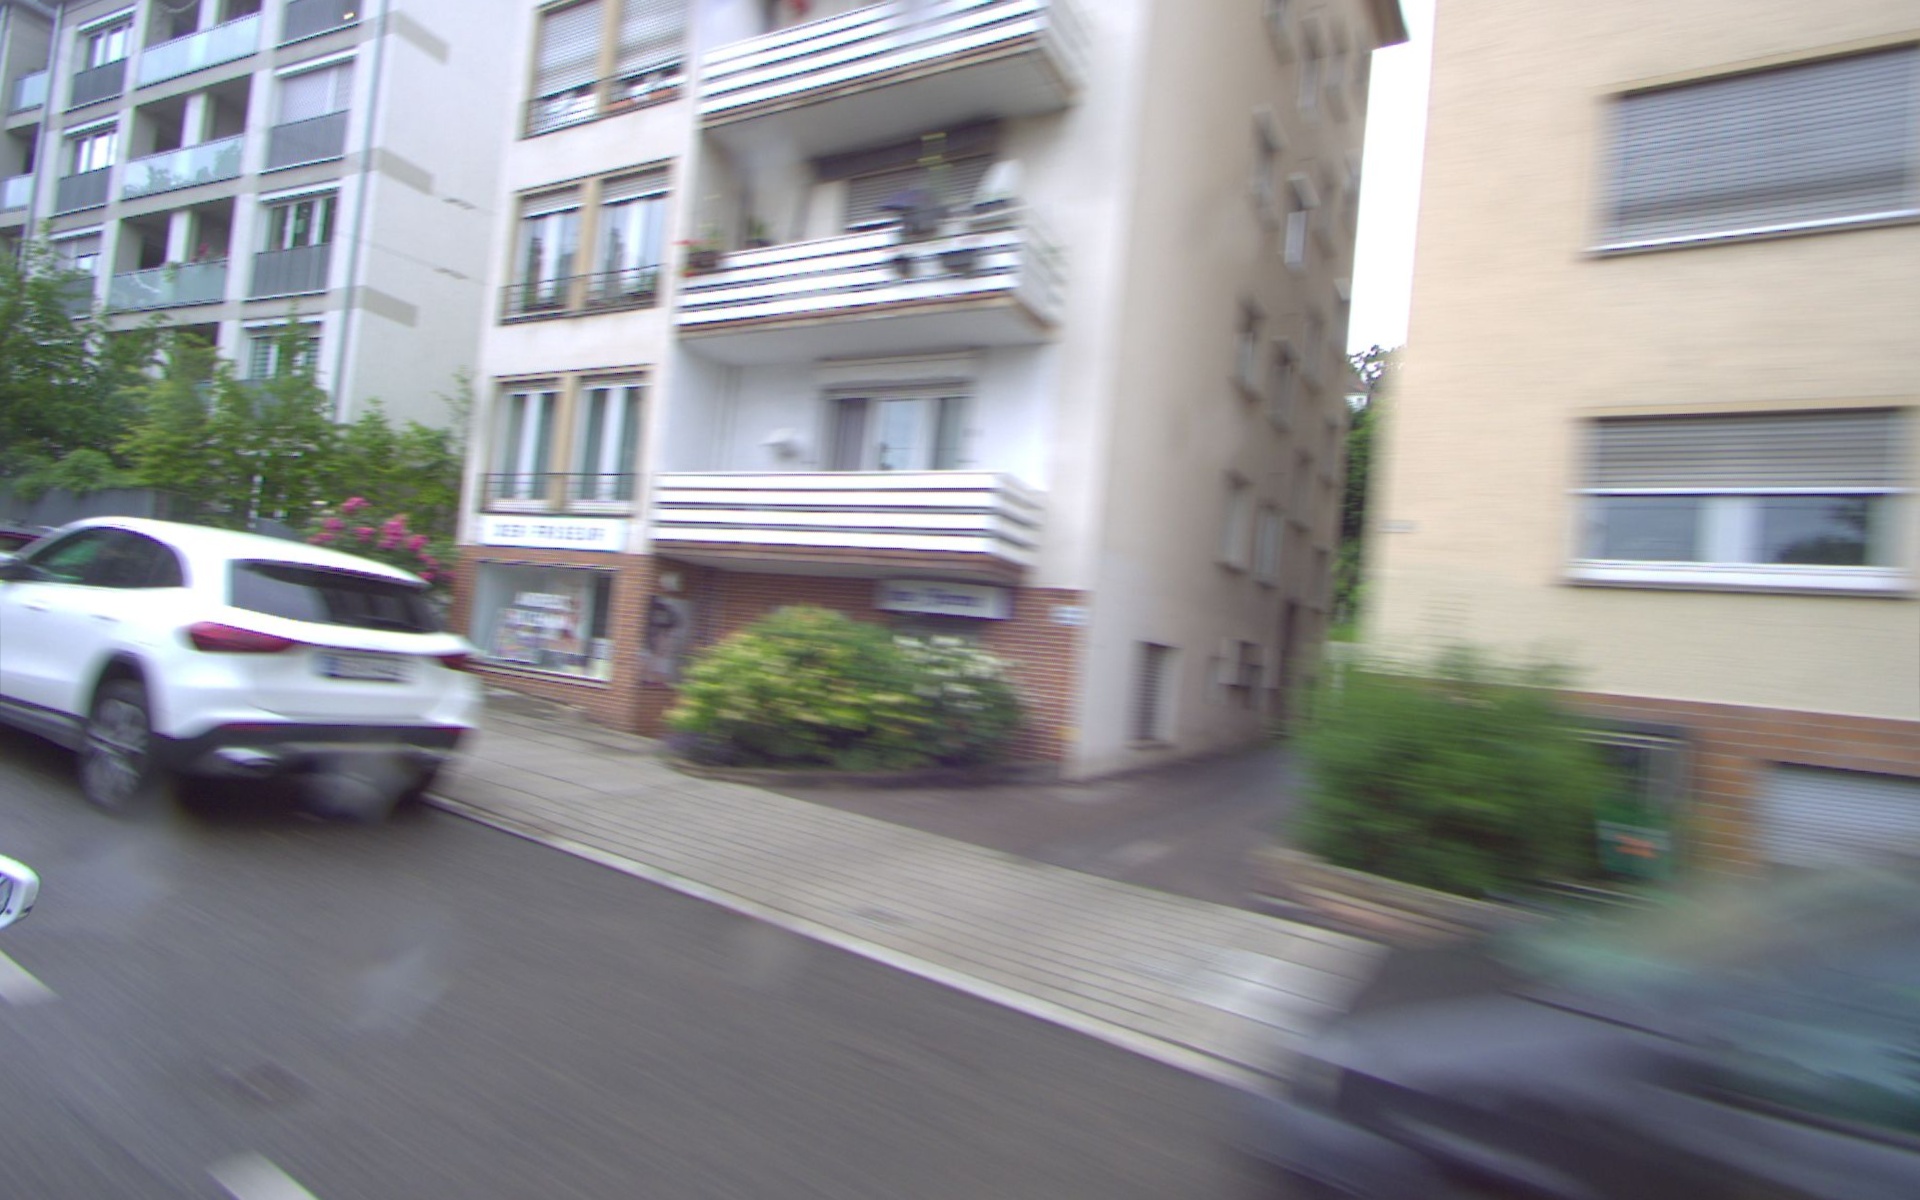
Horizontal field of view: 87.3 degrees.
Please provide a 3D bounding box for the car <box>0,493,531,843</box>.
[{"bbox_3d":[-5.183,0.309,6.794,4.175,1.589,1.844,7,-4,29],"label":"car"}]

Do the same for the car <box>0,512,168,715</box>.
[{"bbox_3d":[-9.382,-0.122,9.171,4.494,1.527,1.708,7,-5,30],"label":"car"}]

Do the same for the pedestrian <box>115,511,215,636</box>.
[{"bbox_3d":[-10.735,-0.345,13.590,0.912,1.562,0.571,7,1,22],"label":"pedestrian"}]

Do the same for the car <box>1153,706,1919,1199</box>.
[{"bbox_3d":[2.717,1.289,2.022,4.231,1.453,1.560,7,-3,31],"label":"car"}]
